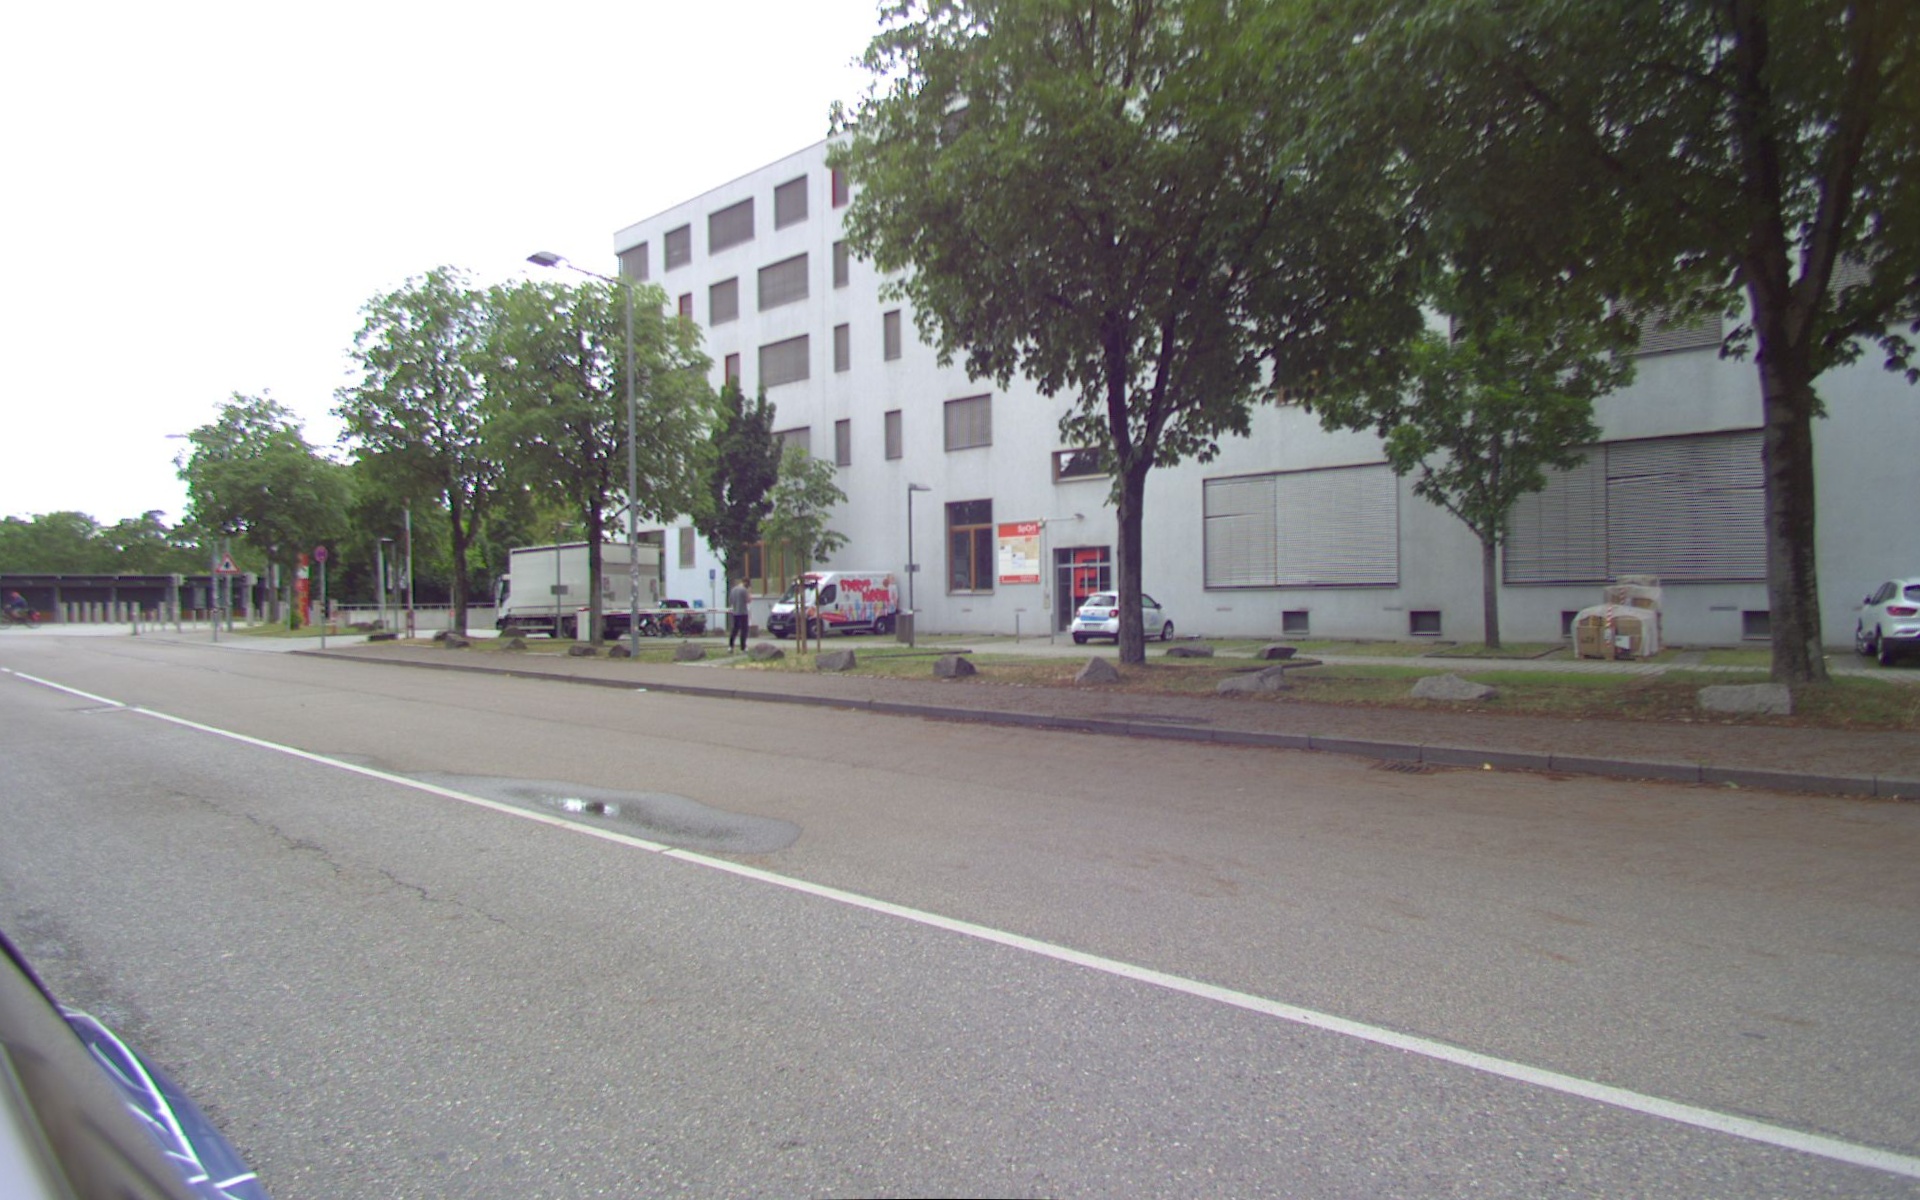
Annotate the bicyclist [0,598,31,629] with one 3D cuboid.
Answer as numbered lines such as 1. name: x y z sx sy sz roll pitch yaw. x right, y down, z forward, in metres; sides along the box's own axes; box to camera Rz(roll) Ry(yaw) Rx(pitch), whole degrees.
1. bicyclist: -48.264 0.682 51.618 0.926 1.507 1.088 1 2 36

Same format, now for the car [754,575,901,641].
1. car: -4.889 0.231 38.104 2.078 2.296 5.569 0 1 40

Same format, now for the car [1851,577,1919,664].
1. car: 17.930 0.326 18.649 1.896 1.467 3.963 0 1 36

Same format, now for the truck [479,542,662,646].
1. truck: -15.084 -0.266 38.811 8.354 3.627 2.651 0 1 38

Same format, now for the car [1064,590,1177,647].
1. car: 4.763 0.493 29.798 1.691 1.511 3.576 0 1 40

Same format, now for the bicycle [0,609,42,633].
1. bicycle: -48.273 1.086 51.613 0.776 1.152 2.027 1 2 35

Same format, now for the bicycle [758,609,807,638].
1. bicycle: -7.260 0.959 41.429 0.614 1.078 2.002 0 2 44

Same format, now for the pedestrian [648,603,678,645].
1. pedestrian: -11.535 0.926 39.318 0.885 1.618 0.672 0 1 34

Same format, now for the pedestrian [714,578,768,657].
1. pedestrian: -4.787 0.374 22.164 0.784 1.684 0.837 0 1 32
